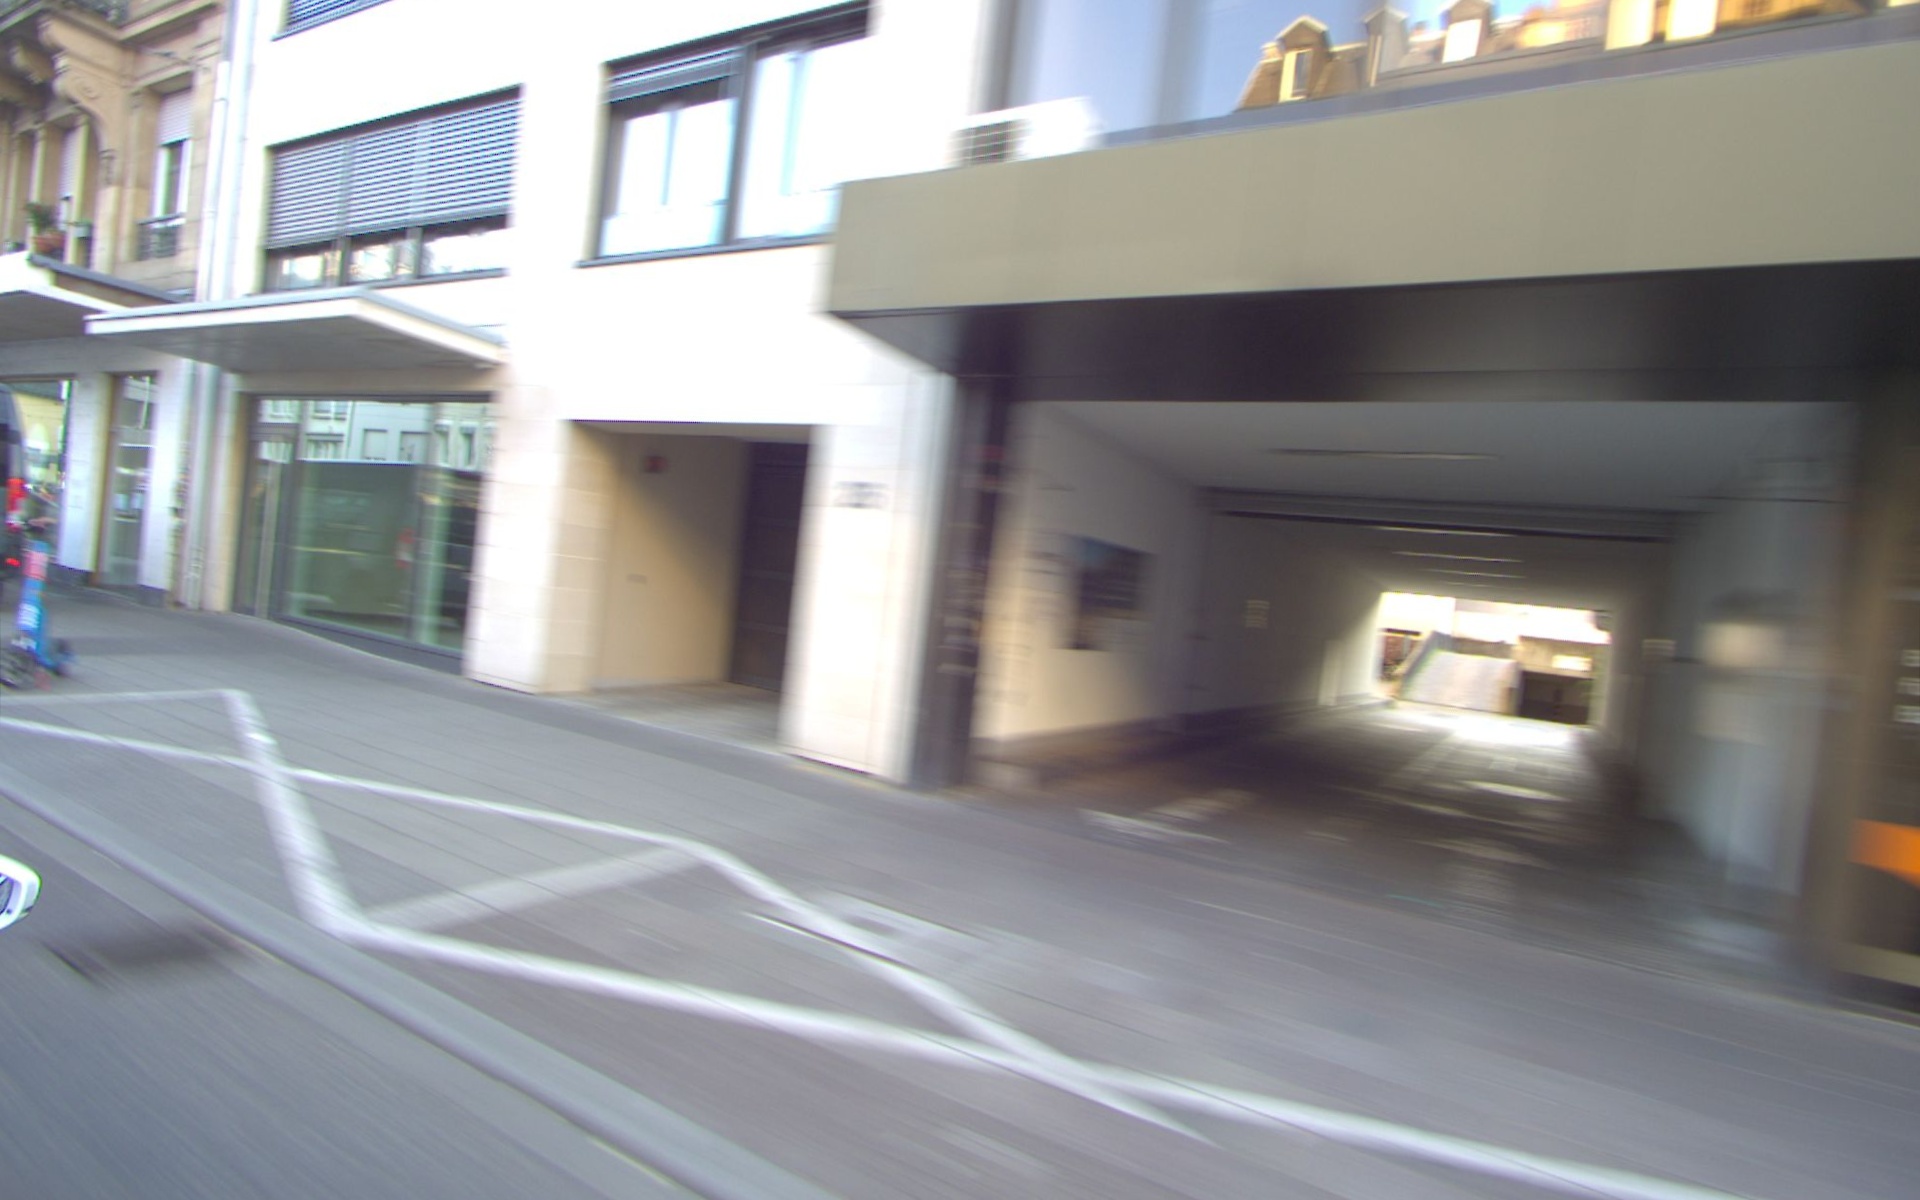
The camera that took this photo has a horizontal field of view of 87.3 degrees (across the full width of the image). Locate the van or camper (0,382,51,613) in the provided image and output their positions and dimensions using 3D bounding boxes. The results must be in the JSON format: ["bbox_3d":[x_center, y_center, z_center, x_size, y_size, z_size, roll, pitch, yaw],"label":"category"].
[{"bbox_3d":[-13.195,-1.423,11.679,6.029,2.459,2.189,7,3,31],"label":"van or camper"}]

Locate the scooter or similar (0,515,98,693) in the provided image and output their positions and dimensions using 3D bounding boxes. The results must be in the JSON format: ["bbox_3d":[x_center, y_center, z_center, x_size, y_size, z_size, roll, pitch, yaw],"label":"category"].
[{"bbox_3d":[-6.943,-0.002,7.585,0.351,1.240,1.107,4,3,-26],"label":"scooter or similar"}]
